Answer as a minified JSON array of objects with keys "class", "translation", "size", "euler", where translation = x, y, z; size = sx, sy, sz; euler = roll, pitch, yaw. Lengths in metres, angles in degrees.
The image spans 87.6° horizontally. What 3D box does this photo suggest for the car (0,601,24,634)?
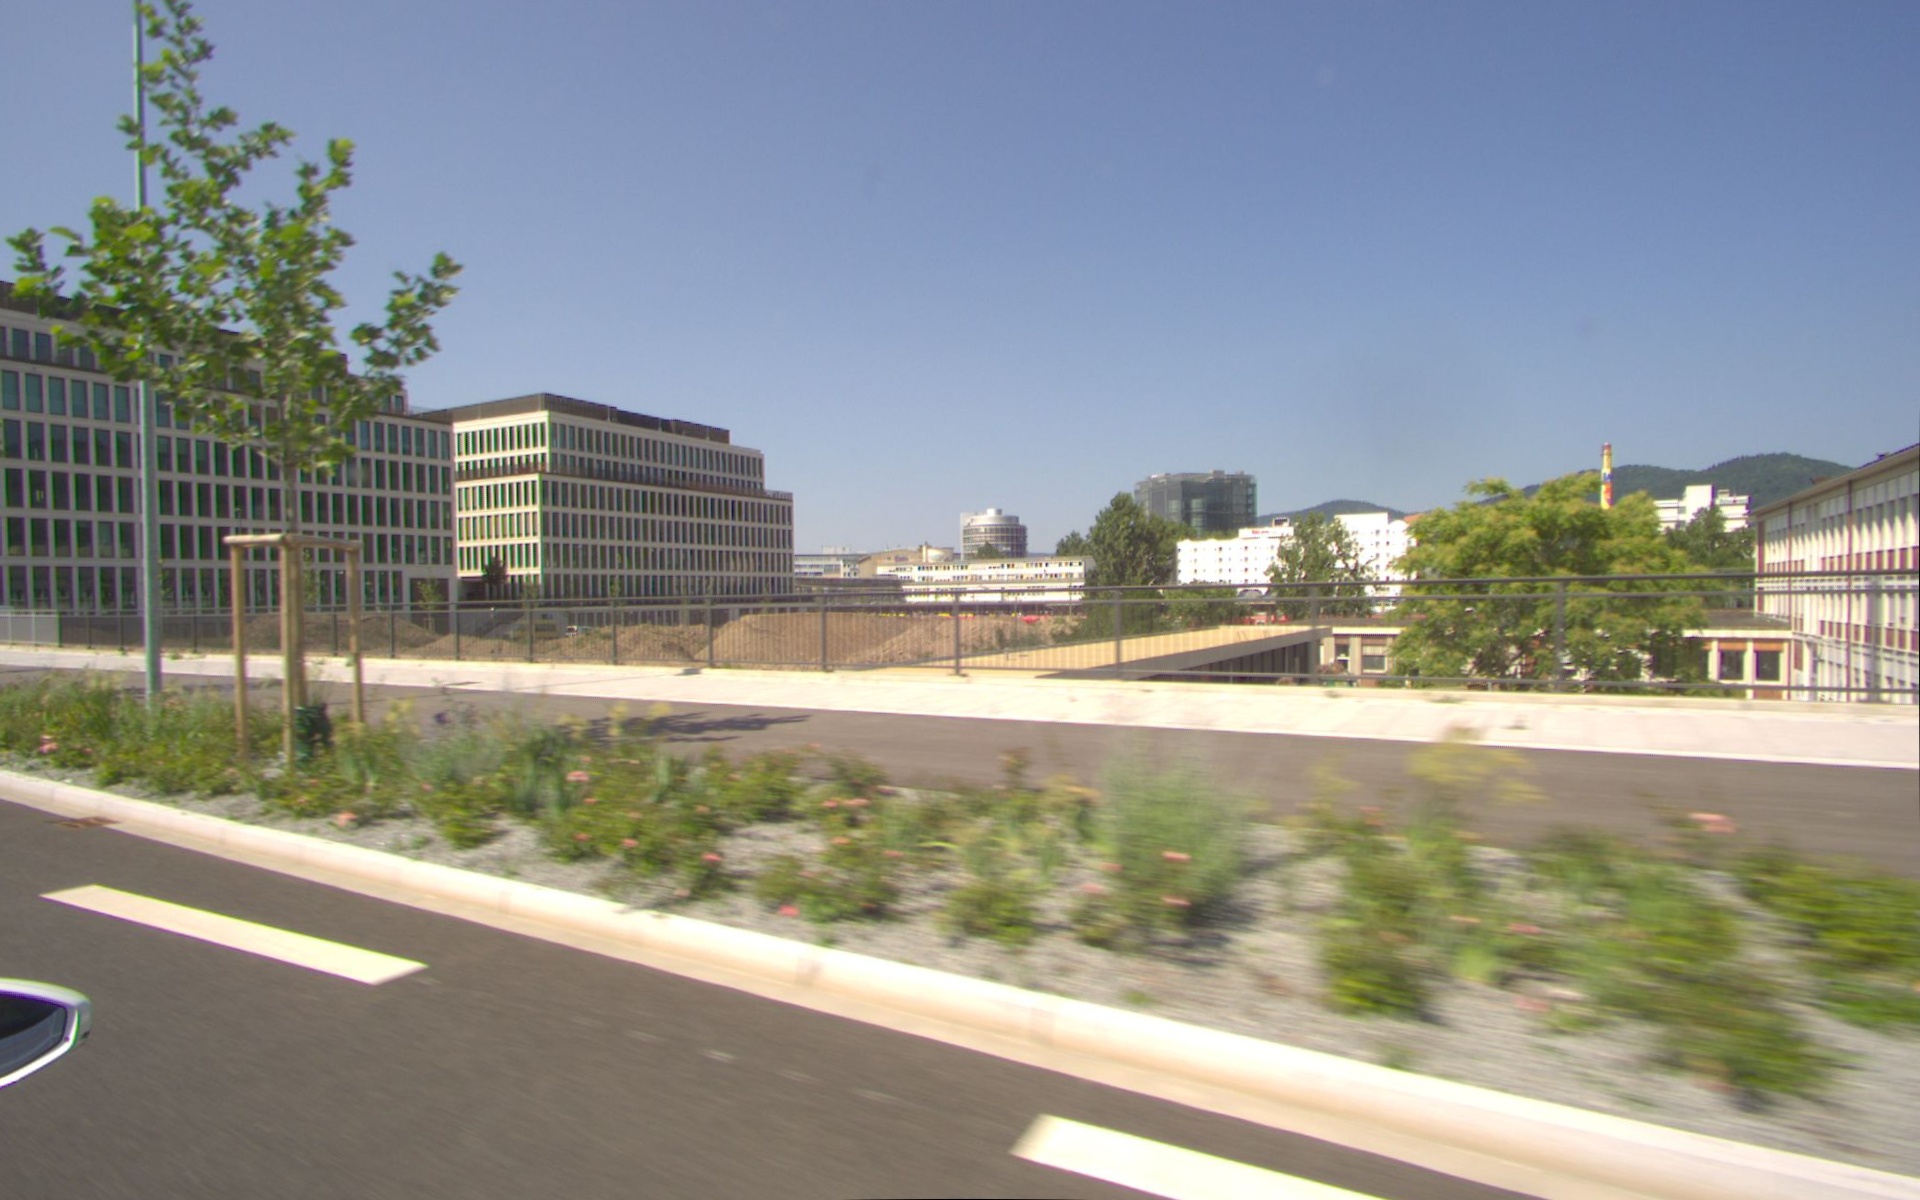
[{"class":"car","translation":[-68.700,1.184,68.957],"size":[2.115,2.299,5.828],"euler":[0,-2,32]}]
